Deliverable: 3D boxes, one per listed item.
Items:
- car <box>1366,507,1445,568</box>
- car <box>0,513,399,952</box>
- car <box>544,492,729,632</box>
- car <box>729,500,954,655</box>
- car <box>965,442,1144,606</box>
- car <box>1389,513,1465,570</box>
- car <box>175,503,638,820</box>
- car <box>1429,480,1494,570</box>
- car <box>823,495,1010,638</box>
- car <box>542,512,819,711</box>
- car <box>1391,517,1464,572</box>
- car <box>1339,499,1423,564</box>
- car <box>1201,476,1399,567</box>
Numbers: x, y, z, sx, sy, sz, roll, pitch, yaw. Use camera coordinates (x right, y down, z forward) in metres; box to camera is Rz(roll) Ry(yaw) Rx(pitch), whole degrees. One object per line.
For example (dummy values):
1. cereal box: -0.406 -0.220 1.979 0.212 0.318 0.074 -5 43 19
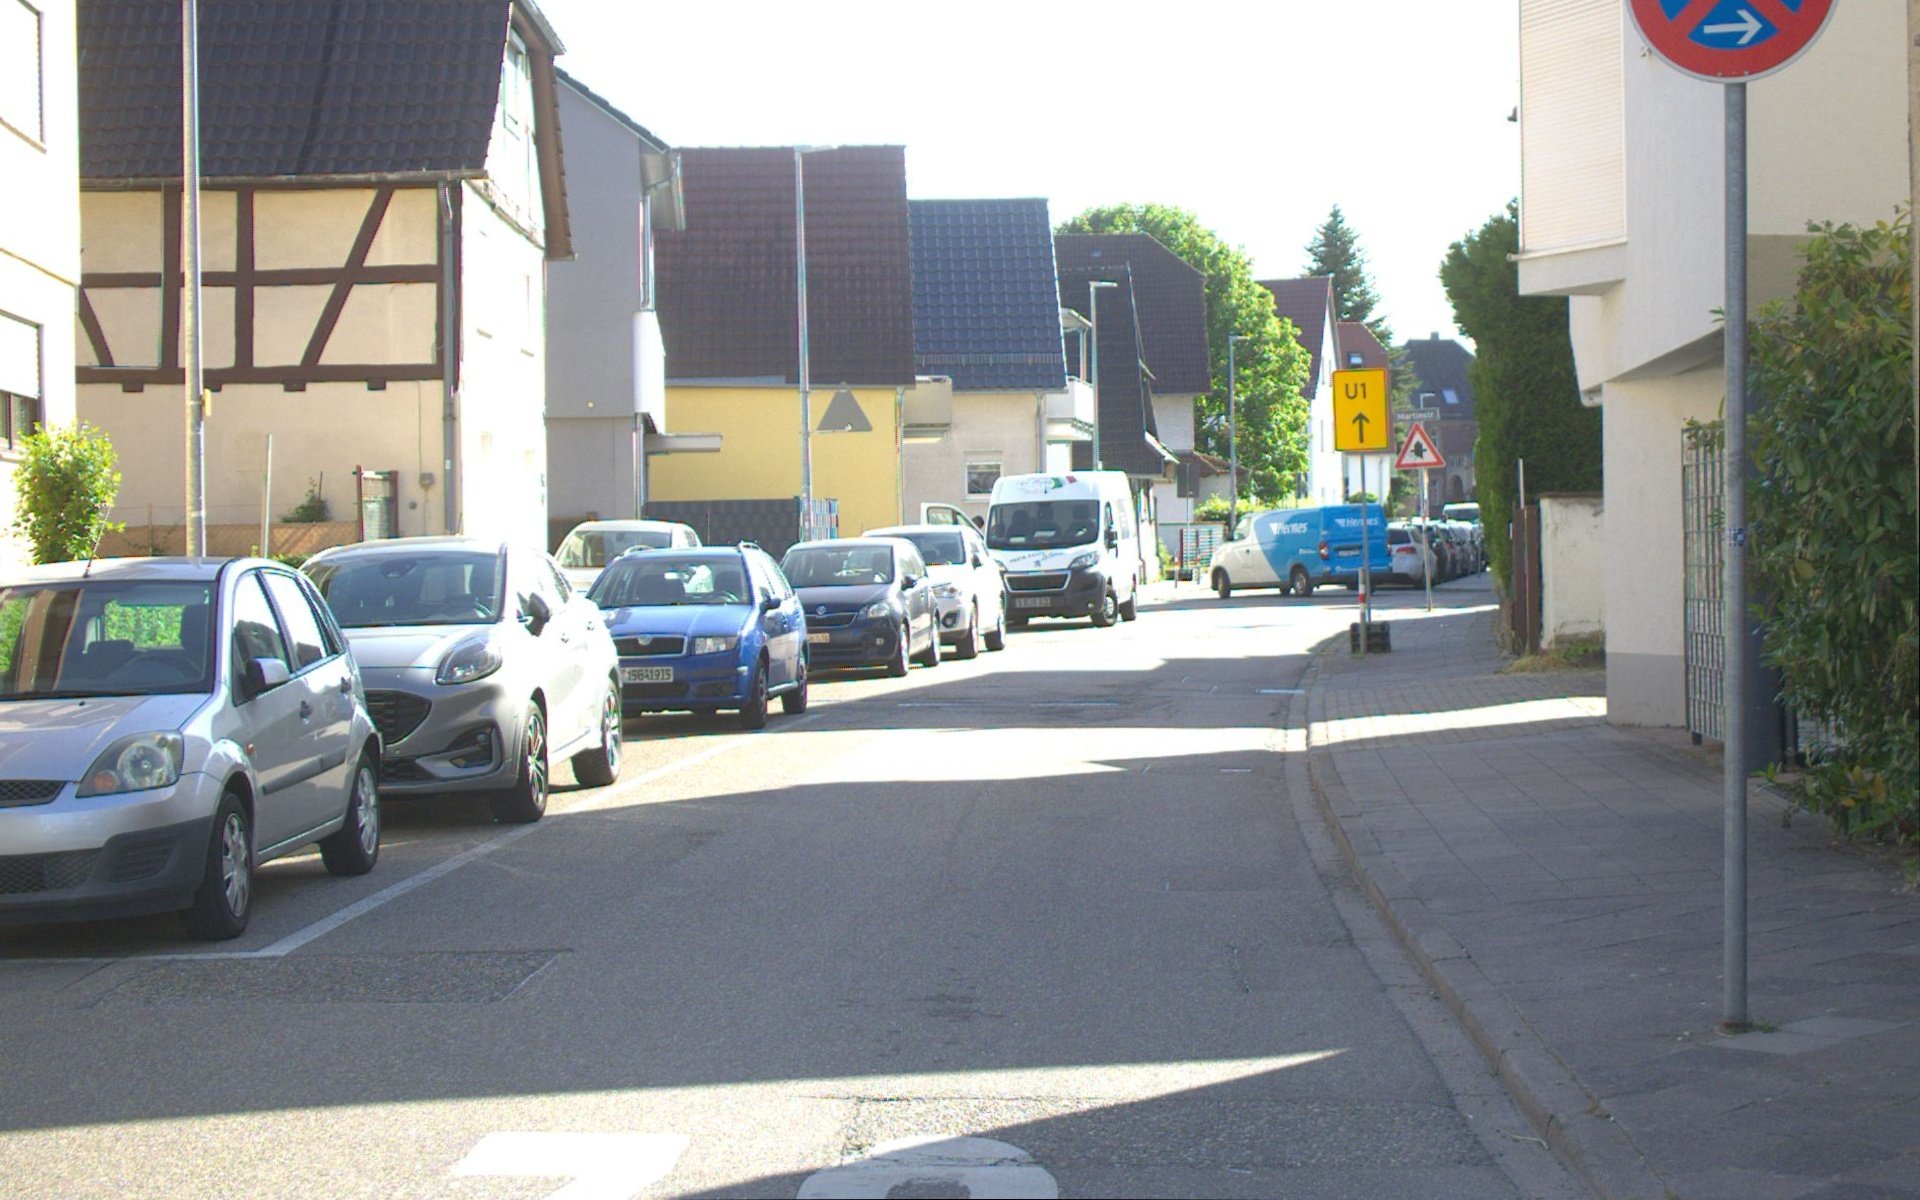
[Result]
1. car: 10.994 -1.536 84.999 1.845 1.408 3.999 1 0 6
2. car: -3.494 0.431 14.051 1.631 1.500 3.853 -1 2 2
3. car: -3.892 -0.507 41.914 1.721 1.590 4.017 0 2 2
4. car: -1.232 -0.287 37.661 1.704 1.513 4.121 -3 1 8
5. car: 1.575 -1.235 54.861 2.078 2.386 5.207 -3 1 9
6. car: 12.198 -1.520 89.986 1.845 1.408 3.999 1 0 6
7. car: -2.959 0.254 19.229 1.673 1.500 4.094 -3 2 3
8. car: 15.386 -2.274 105.405 1.845 2.630 3.998 1 0 10
9. car: -0.479 -0.447 42.038 1.674 1.566 3.965 -3 2 7
10. car: -2.203 0.041 28.055 1.639 1.436 4.075 -2 1 3
11. car: 12.822 -1.511 94.451 1.845 1.408 3.999 1 0 6
12. car: 9.644 -1.553 78.940 1.845 1.408 3.999 1 0 6
13. car: 7.214 -1.660 73.518 1.920 1.795 4.781 -4 2 -26
